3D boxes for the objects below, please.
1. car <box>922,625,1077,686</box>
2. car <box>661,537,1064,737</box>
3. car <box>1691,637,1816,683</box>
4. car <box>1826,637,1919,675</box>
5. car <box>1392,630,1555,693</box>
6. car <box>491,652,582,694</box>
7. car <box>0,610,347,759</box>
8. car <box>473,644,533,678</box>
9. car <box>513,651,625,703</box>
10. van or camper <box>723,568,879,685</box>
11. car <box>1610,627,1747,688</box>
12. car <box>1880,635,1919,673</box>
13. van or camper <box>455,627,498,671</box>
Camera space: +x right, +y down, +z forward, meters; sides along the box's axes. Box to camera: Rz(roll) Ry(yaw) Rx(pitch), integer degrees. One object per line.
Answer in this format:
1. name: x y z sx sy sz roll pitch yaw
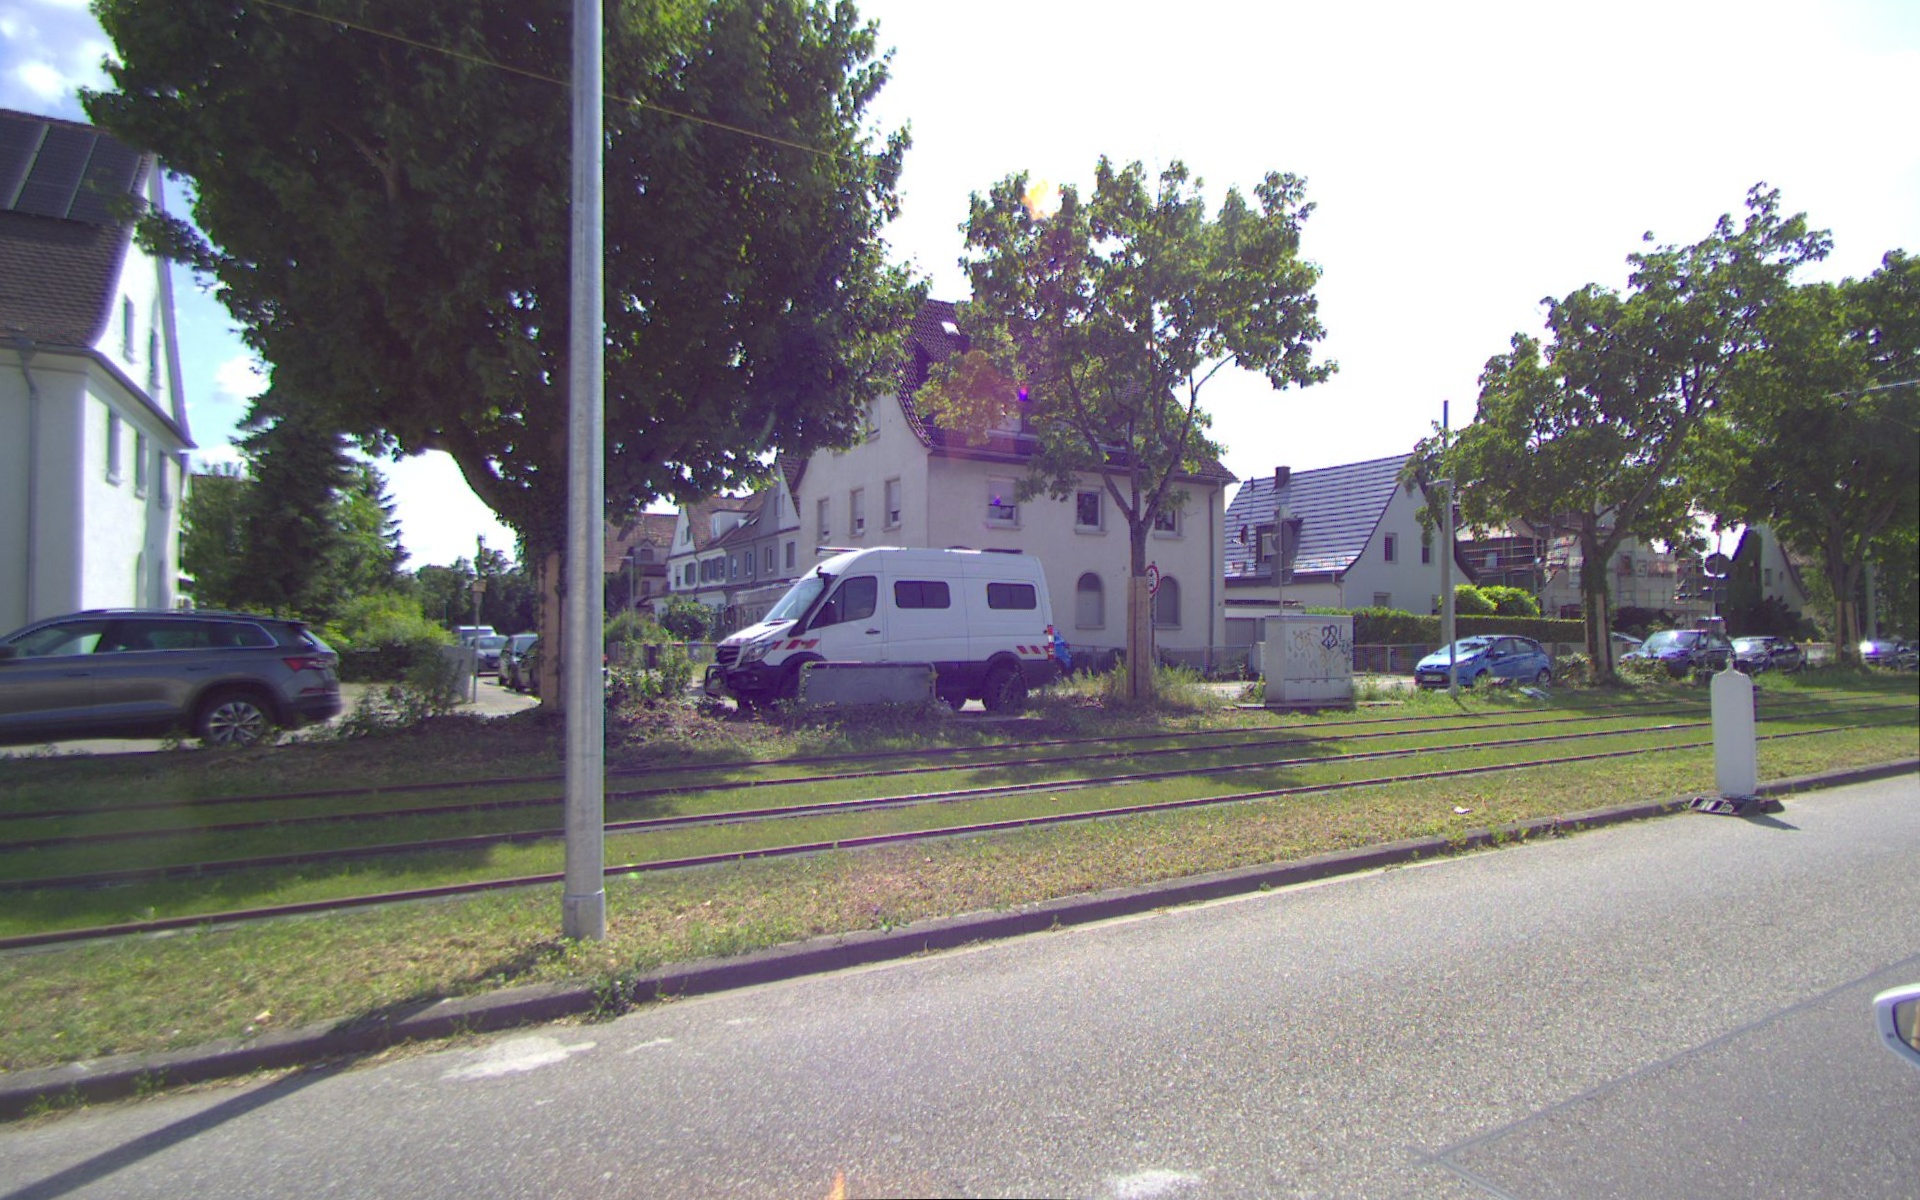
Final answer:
1. car: 1.124 1.548 28.047 3.953 1.598 1.894 2 -3 -30
2. car: -1.433 0.595 16.486 6.392 2.766 1.983 1 -3 -33
3. car: 26.698 2.011 33.794 3.954 1.457 1.984 2 -4 -31
4. car: 35.470 2.169 38.741 3.808 1.334 1.985 2 -5 -31
5. car: 12.814 1.524 25.029 3.841 1.454 1.747 2 -3 -28
6. car: -12.390 2.083 29.279 1.976 1.149 3.969 2 -3 -30
7. car: -9.726 0.935 11.580 4.434 1.525 1.984 2 -3 -30
8. car: -17.298 2.293 37.968 1.911 1.217 3.519 1 -3 -27
9. car: -9.804 1.857 25.012 2.022 1.176 3.969 2 -3 -30
10. van or camper: -5.143 0.878 31.390 2.604 3.264 6.697 1 -3 -30
11. car: 21.956 1.745 30.654 4.346 1.713 1.982 2 -3 -34
12. car: 40.268 2.237 41.604 4.881 1.502 1.797 2 -3 -30
13. van or camper: -24.357 2.466 50.505 1.746 2.127 4.209 1 -3 -28
